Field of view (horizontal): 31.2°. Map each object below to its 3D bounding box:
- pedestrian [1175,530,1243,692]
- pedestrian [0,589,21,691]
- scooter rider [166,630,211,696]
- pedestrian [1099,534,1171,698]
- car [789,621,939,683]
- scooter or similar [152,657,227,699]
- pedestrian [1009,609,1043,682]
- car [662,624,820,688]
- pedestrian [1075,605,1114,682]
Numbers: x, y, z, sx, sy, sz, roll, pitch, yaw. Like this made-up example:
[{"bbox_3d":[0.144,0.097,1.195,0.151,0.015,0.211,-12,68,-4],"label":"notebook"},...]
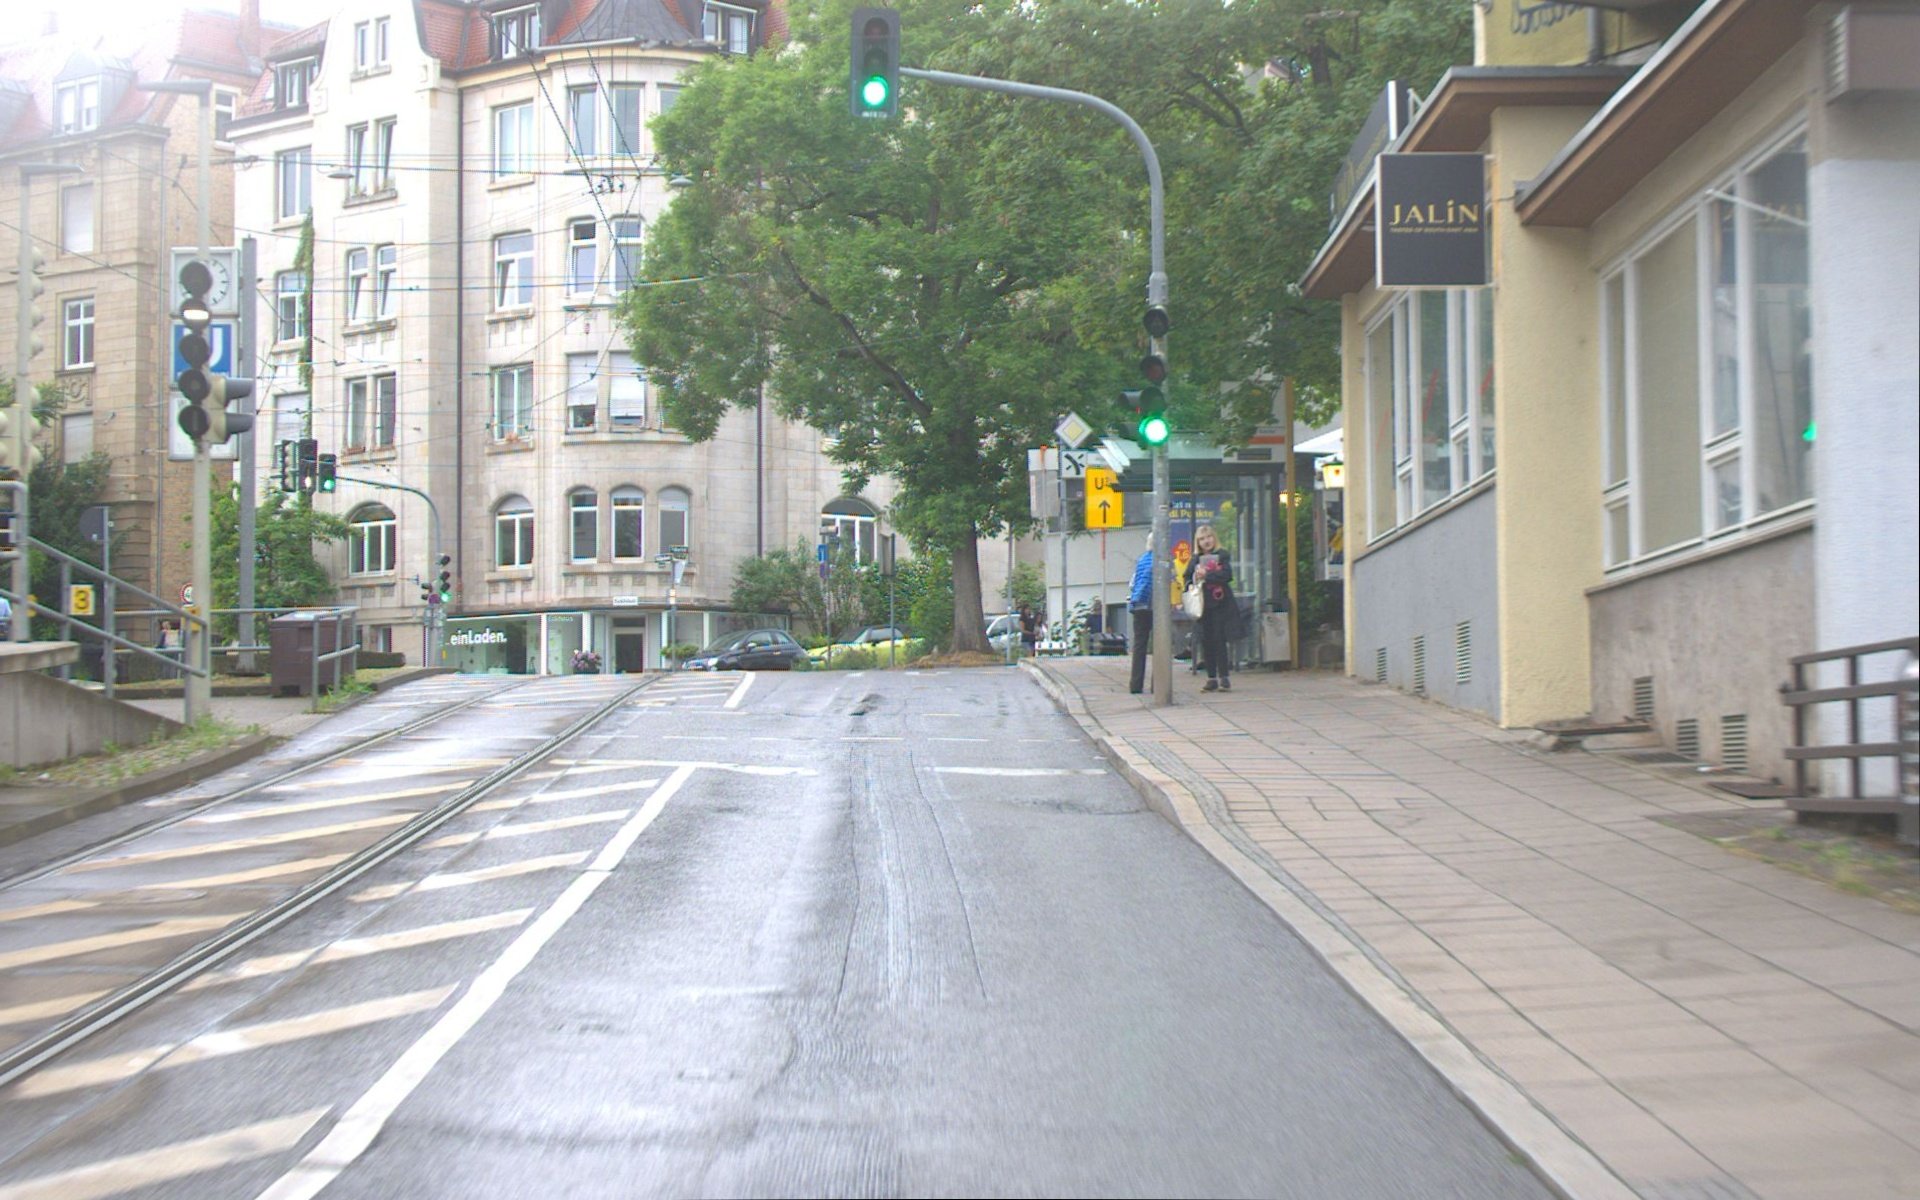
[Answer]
[{"bbox_3d":[2.425,0.106,33.545,0.545,1.548,0.559,-2,0,-3],"label":"pedestrian"},{"bbox_3d":[-15.893,0.667,56.885,0.568,1.678,0.776,-1,-2,-8],"label":"pedestrian"},{"bbox_3d":[-20.577,1.672,91.670,0.842,1.700,0.624,1,-5,26],"label":"scooter rider"},{"bbox_3d":[1.682,0.150,33.141,0.588,1.548,0.650,-2,0,-1],"label":"pedestrian"},{"bbox_3d":[-2.498,1.356,90.127,3.660,1.503,1.736,-1,-1,-43],"label":"car"},{"bbox_3d":[-20.530,2.079,91.610,2.005,1.046,0.514,1,-5,26],"label":"scooter or similar"},{"bbox_3d":[1.420,0.978,74.063,0.599,1.560,0.546,1,0,-11],"label":"pedestrian"},{"bbox_3d":[-5.535,1.413,87.122,3.660,1.503,1.736,-1,-1,-42],"label":"car"},{"bbox_3d":[2.862,0.925,73.322,0.544,1.624,0.601,1,0,-34],"label":"pedestrian"}]
